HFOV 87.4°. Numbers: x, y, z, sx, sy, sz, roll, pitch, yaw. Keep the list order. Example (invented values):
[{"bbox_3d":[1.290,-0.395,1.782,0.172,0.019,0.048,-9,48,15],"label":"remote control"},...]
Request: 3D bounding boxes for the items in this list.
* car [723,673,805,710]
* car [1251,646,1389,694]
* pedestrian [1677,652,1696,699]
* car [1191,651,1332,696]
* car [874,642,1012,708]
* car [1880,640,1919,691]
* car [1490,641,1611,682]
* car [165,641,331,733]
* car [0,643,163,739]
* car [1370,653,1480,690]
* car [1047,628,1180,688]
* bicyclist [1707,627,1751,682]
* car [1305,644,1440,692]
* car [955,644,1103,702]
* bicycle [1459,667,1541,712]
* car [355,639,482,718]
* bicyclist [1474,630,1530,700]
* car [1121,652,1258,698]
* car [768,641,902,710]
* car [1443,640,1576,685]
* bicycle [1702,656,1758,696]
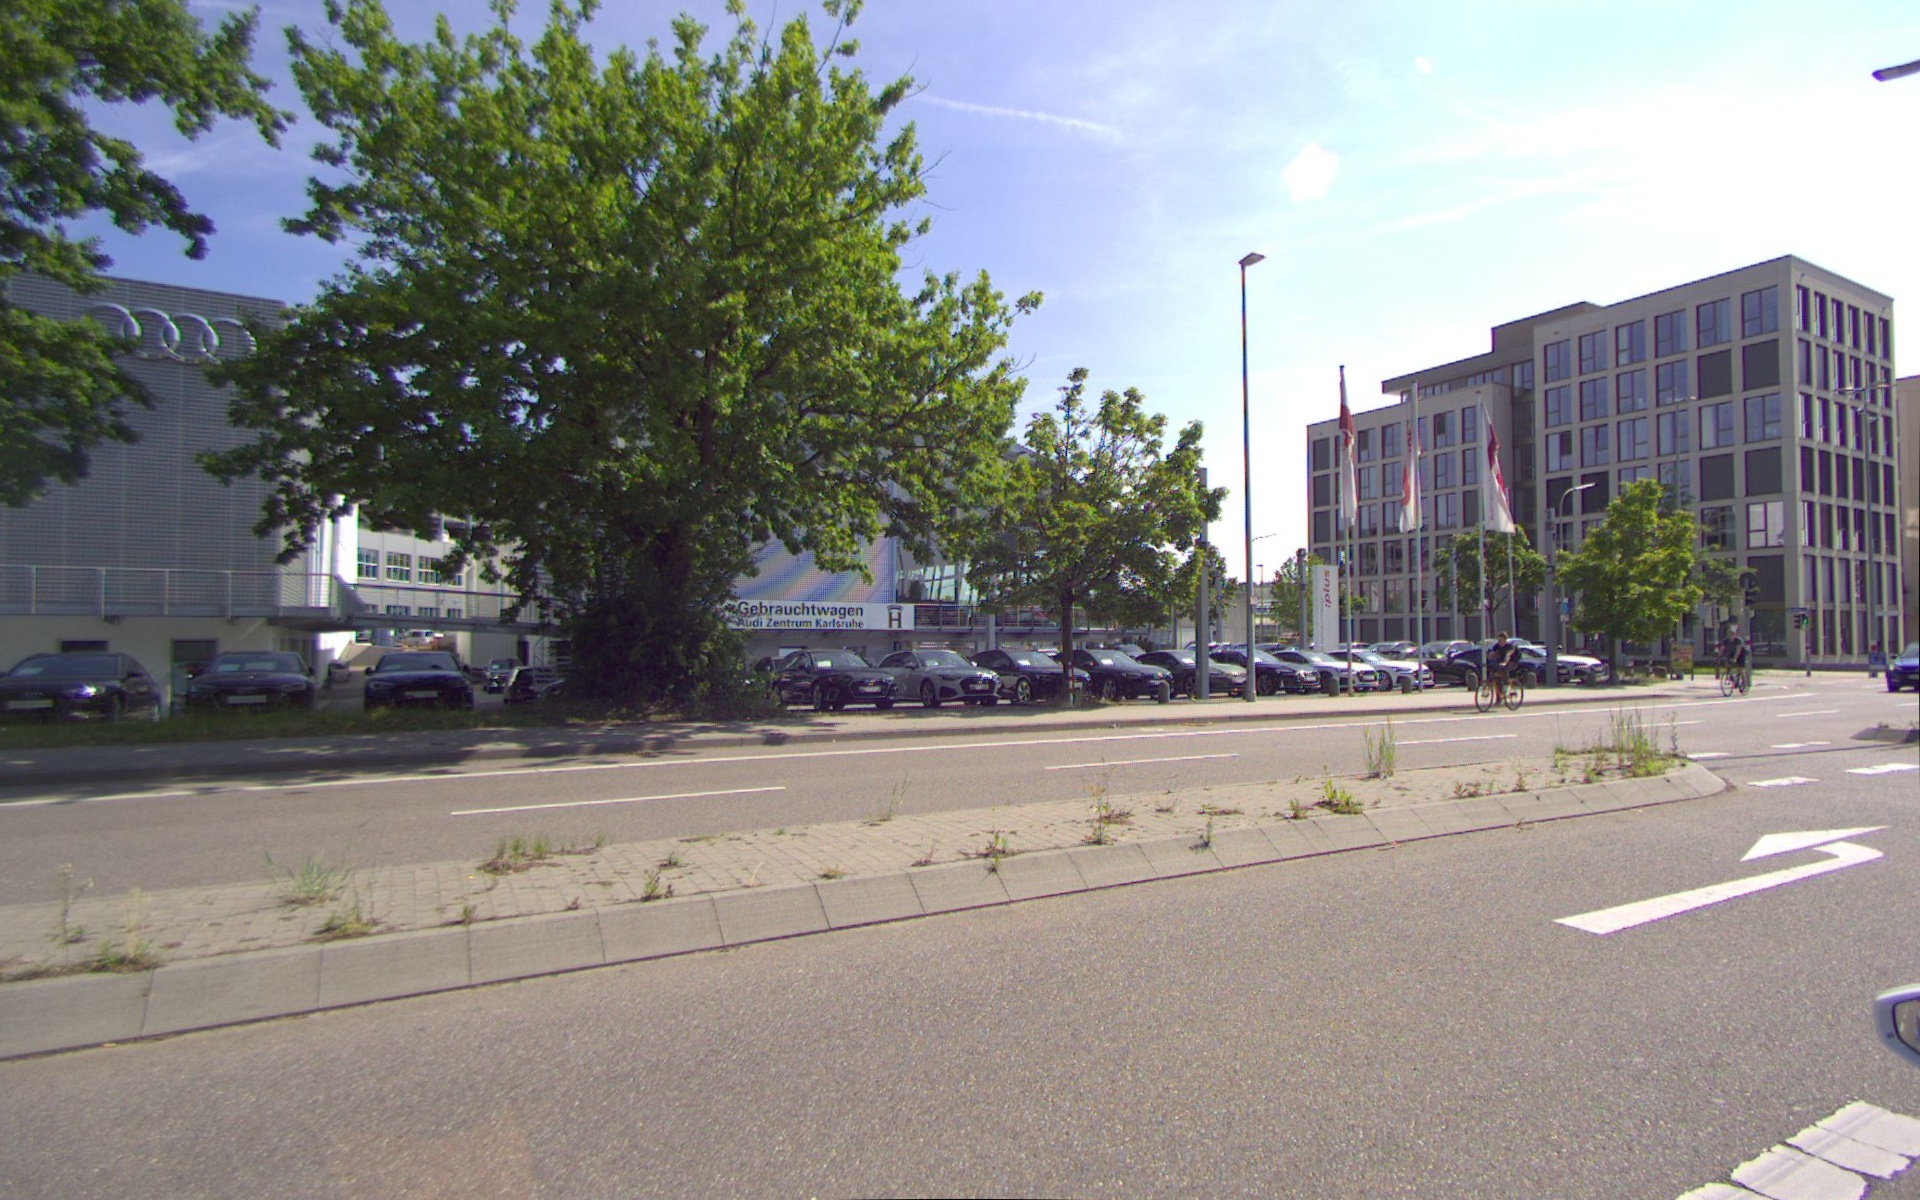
[{"bbox_3d":[-6.642,3.103,33.743,1.727,1.115,3.642,1,-6,-28],"label":"car"},{"bbox_3d":[11.197,2.231,31.532,1.824,1.350,3.864,0,-5,-26],"label":"car"},{"bbox_3d":[32.314,3.365,44.696,0.571,2.040,0.554,1,-1,-38],"label":"pedestrian"},{"bbox_3d":[8.929,2.221,30.032,1.886,1.181,3.864,0,-5,-26],"label":"car"},{"bbox_3d":[-0.508,1.853,24.449,1.886,1.437,3.864,0,-5,-26],"label":"car"},{"bbox_3d":[29.067,1.924,29.809,3.799,1.376,1.672,0,-2,-33],"label":"car"},{"bbox_3d":[22.270,2.359,38.009,1.620,1.375,3.581,1,-6,-29],"label":"car"},{"bbox_3d":[-12.865,1.617,18.433,2.027,1.460,4.287,1,-6,-30],"label":"car"},{"bbox_3d":[-15.354,1.588,17.184,1.976,1.460,4.124,1,-6,-29],"label":"car"},{"bbox_3d":[16.477,2.536,35.580,3.388,1.189,1.849,1,-6,-30],"label":"car"},{"bbox_3d":[4.078,1.613,27.334,1.638,1.437,3.864,0,-5,-26],"label":"car"},{"bbox_3d":[21.747,1.548,28.411,1.016,1.521,0.627,1,-3,-30],"label":"bicyclist"},{"bbox_3d":[13.357,2.250,32.785,1.726,1.382,3.864,0,-5,-26],"label":"car"},{"bbox_3d":[1.690,1.940,26.112,2.010,1.348,4.156,0,-5,-26],"label":"car"},{"bbox_3d":[12.247,2.016,22.757,1.949,0.953,0.677,1,-3,-30],"label":"bicycle"},{"bbox_3d":[-10.580,1.575,19.664,1.976,1.376,3.973,1,-6,-29],"label":"car"},{"bbox_3d":[12.289,1.456,22.781,1.024,1.546,0.616,1,-3,-29],"label":"bicyclist"},{"bbox_3d":[6.473,2.179,28.780,1.771,1.167,3.864,0,-5,-26],"label":"car"},{"bbox_3d":[-2.988,1.791,23.313,1.886,1.437,3.976,0,-5,-26],"label":"car"},{"bbox_3d":[20.149,2.319,36.965,1.844,1.483,3.862,0,-6,-28],"label":"car"},{"bbox_3d":[21.753,2.132,28.368,1.854,1.065,0.582,1,-4,-31],"label":"bicycle"}]
